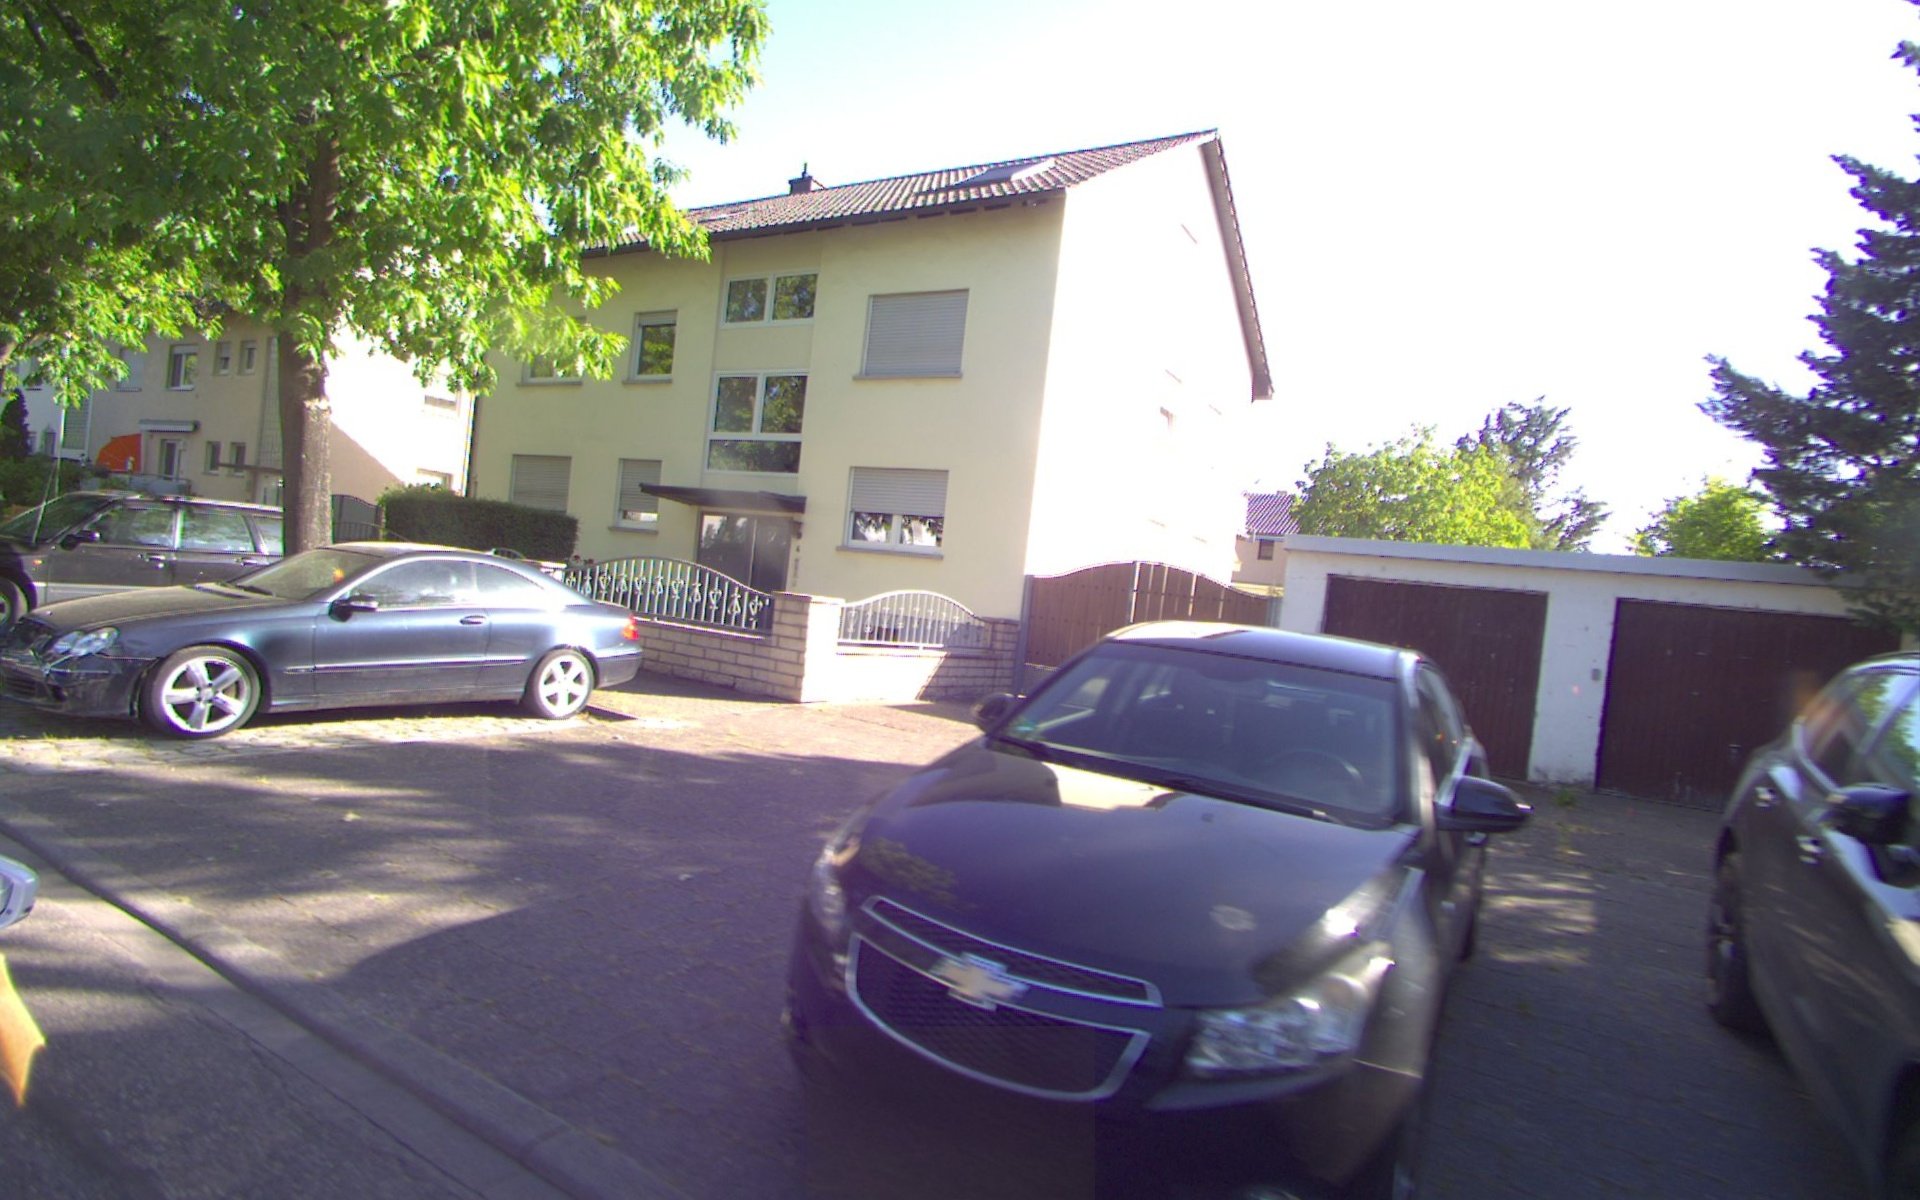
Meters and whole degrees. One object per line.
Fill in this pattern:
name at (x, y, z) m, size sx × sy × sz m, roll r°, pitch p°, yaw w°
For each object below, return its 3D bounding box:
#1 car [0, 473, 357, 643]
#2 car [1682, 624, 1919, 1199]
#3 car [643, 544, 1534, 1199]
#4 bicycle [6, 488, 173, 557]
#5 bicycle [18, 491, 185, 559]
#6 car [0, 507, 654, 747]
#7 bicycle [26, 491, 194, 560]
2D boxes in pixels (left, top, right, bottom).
car at (-9.271, -0.445, 10.846) m, size 1.836 × 1.580 × 4.342 m, roll 7°, pitch 1°, yaw 30°
car at (3.337, 1.006, 2.628) m, size 1.807 × 1.668 × 4.576 m, roll 7°, pitch 2°, yaw 31°
car at (1.098, 0.800, 4.097) m, size 1.810 × 1.550 × 4.321 m, roll 7°, pitch 2°, yaw 32°
bicycle at (-19.966, -1.757, 23.169) m, size 0.460 × 1.253 × 2.860 m, roll 7°, pitch 1°, yaw 31°
bicycle at (-19.516, -1.681, 22.979) m, size 0.460 × 1.253 × 2.859 m, roll 6°, pitch 1°, yaw 31°
car at (-4.850, 0.190, 8.155) m, size 1.663 × 1.349 × 4.427 m, roll 7°, pitch 2°, yaw 33°
bicycle at (-19.112, -1.642, 22.725) m, size 0.460 × 1.253 × 2.860 m, roll 6°, pitch 1°, yaw 31°
